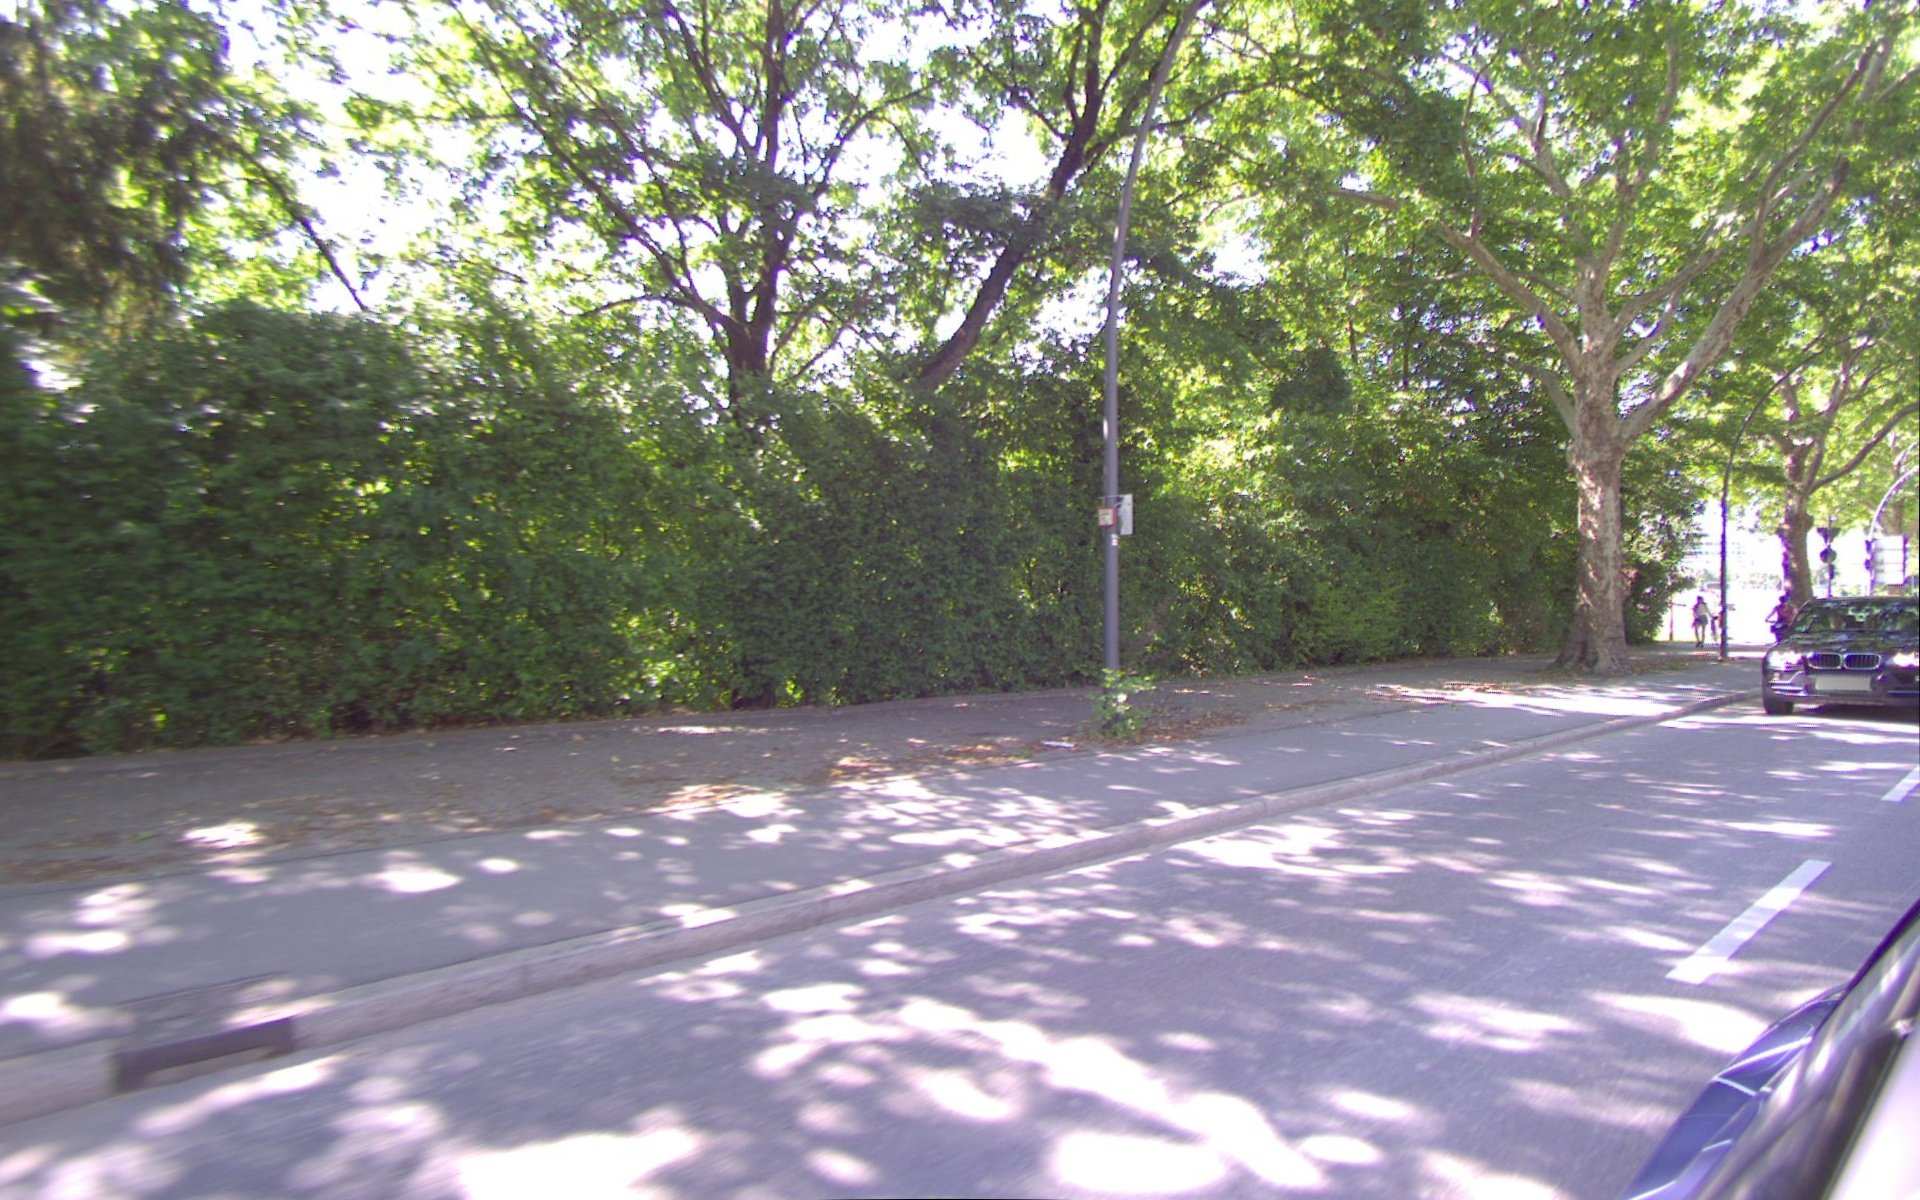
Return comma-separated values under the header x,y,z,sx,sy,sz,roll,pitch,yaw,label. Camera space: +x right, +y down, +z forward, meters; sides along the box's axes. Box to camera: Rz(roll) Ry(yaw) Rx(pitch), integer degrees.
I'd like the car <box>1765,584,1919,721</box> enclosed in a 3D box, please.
x,y,z,sx,sy,sz,roll,pitch,yaw,label
13.489,0.687,14.819,4.079,1.752,1.922,0,-1,-41,car

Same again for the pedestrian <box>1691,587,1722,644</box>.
x,y,z,sx,sy,sz,roll,pitch,yaw,label
24.374,0.498,33.043,0.859,1.808,0.633,1,-1,-41,pedestrian

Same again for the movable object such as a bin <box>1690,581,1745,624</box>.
x,y,z,sx,sy,sz,roll,pitch,yaw,label
57.614,0.225,76.932,5.885,3.111,2.371,1,-1,-44,movable object such as a bin

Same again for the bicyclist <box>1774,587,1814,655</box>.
x,y,z,sx,sy,sz,roll,pitch,yaw,label
20.409,0.511,24.759,0.720,1.620,0.621,1,1,-42,bicyclist

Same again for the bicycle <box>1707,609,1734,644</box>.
x,y,z,sx,sy,sz,roll,pitch,yaw,label
24.777,0.850,32.952,1.669,1.096,0.350,0,-1,-41,bicycle

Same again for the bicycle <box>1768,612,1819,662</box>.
x,y,z,sx,sy,sz,roll,pitch,yaw,label
20.401,0.877,24.766,1.911,1.143,0.652,0,1,-41,bicycle

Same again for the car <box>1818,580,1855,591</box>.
x,y,z,sx,sy,sz,roll,pitch,yaw,label
131.102,-2.141,151.429,1.778,1.529,3.990,1,-1,-43,car
